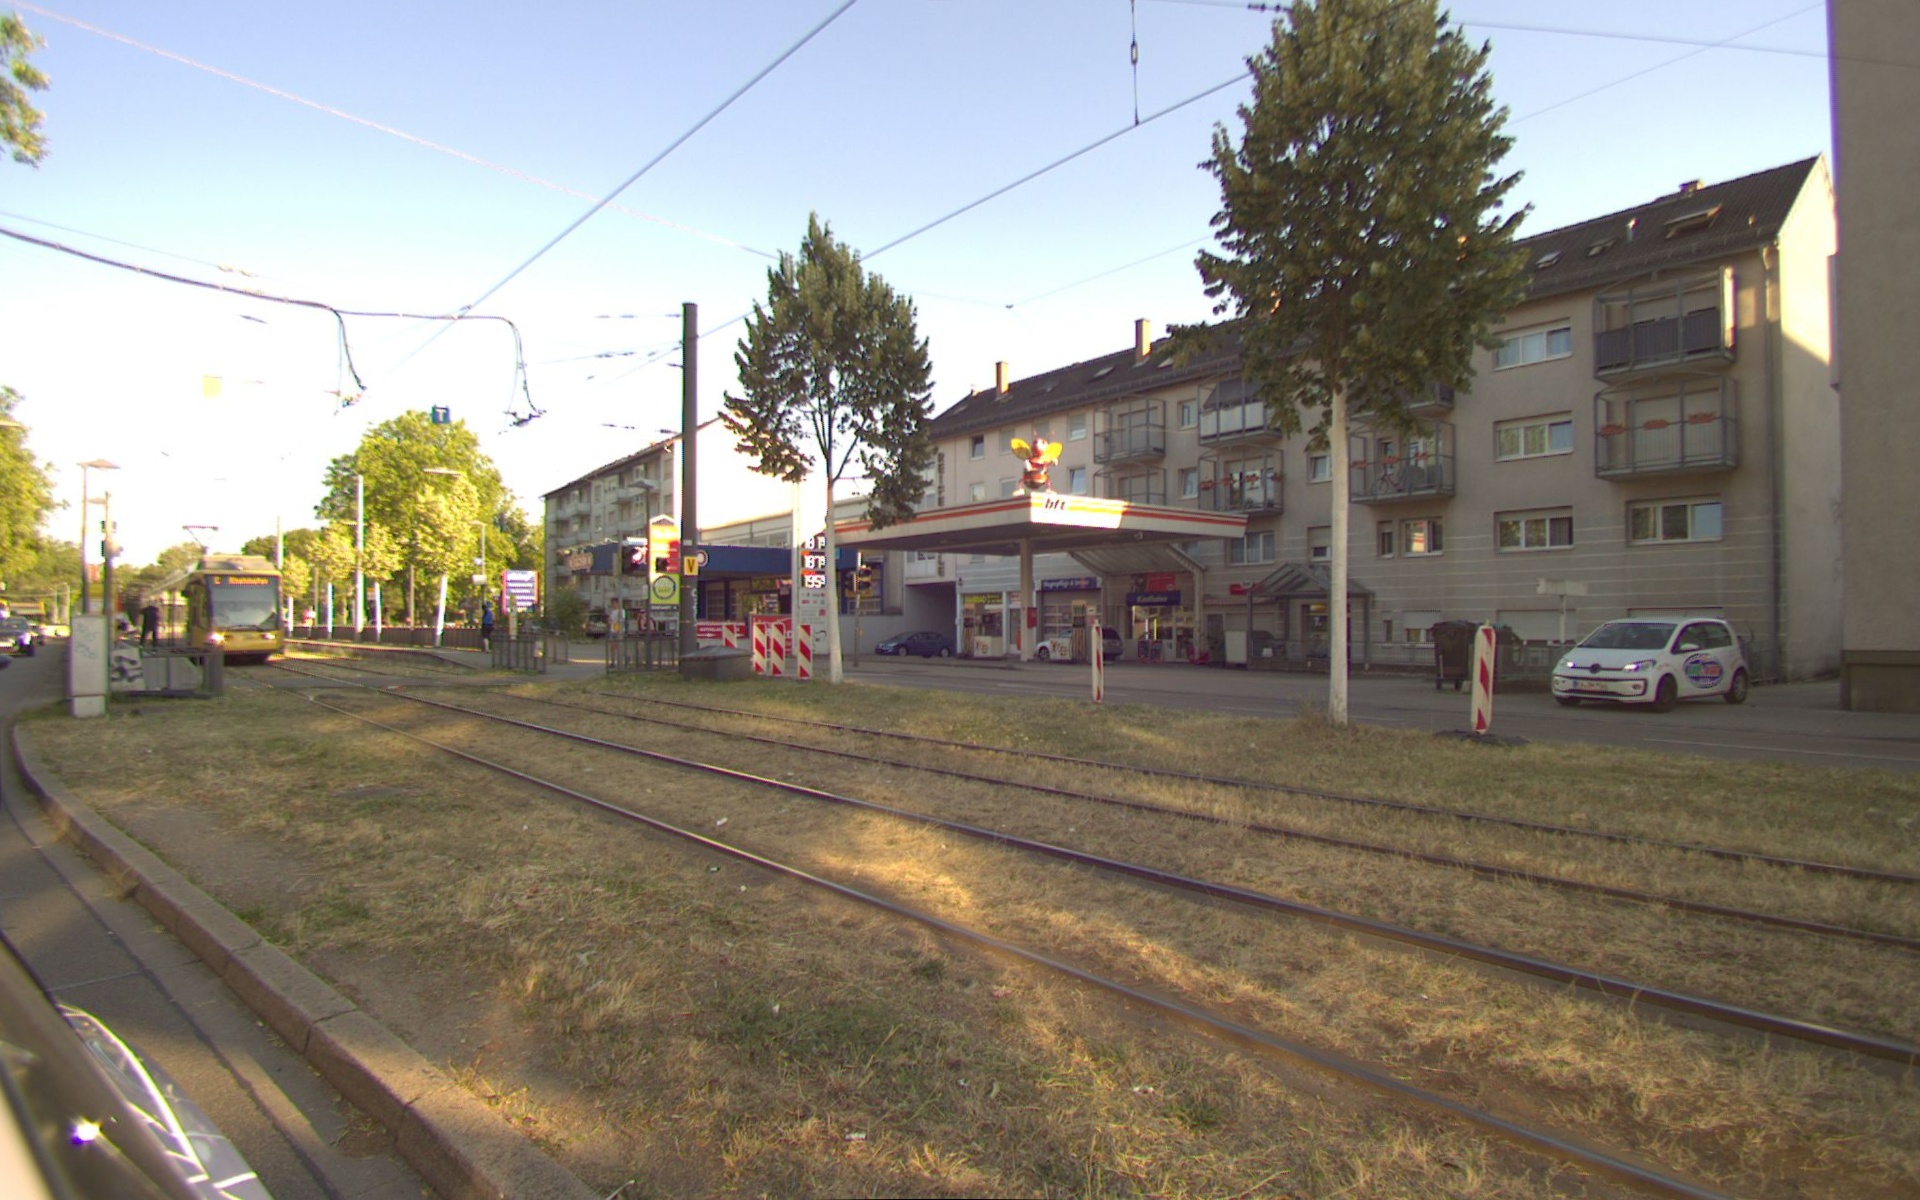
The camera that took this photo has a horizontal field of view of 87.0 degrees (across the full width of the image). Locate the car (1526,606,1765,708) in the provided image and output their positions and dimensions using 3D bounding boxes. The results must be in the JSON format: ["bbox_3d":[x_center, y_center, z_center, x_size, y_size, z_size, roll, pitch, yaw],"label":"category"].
[{"bbox_3d":[11.380,0.906,16.784,3.763,1.523,1.823,2,-2,-30],"label":"car"}]

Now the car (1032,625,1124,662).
[{"bbox_3d":[5.070,1.863,43.984,1.788,1.535,3.836,1,-2,-38],"label":"car"}]

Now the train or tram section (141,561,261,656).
[{"bbox_3d":[-32.078,0.398,42.556,2.998,3.544,10.109,3,-2,-42],"label":"train or tram section"}]

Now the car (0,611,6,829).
[{"bbox_3d":[-8.628,0.805,7.655,4.087,1.628,1.884,-2,0,45],"label":"car"}]

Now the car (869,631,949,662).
[{"bbox_3d":[-2.603,2.361,51.946,3.746,1.535,1.821,1,-2,-38],"label":"car"}]

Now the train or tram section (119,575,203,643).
[{"bbox_3d":[-45.579,0.565,57.571,2.998,3.544,10.109,3,-2,-42],"label":"train or tram section"}]

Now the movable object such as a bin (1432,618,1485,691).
[{"bbox_3d":[9.881,1.074,20.066,0.655,1.411,0.750,2,-2,-43],"label":"movable object such as a bin"}]

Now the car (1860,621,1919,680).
[{"bbox_3d":[26.866,1.376,28.345,3.877,1.428,1.821,-1,0,-38],"label":"car"}]

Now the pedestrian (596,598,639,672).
[{"bbox_3d":[-9.168,0.923,27.119,0.847,1.947,0.756,1,-2,-44],"label":"pedestrian"}]

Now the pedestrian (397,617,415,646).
[{"bbox_3d":[-36.802,2.074,67.235,0.744,1.896,1.001,-3,1,-42],"label":"pedestrian"}]

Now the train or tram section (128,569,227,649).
[{"bbox_3d":[-38.828,0.494,50.066,2.998,3.544,10.109,3,-2,-42],"label":"train or tram section"}]

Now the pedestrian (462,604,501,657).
[{"bbox_3d":[-15.917,1.006,33.674,0.923,1.666,0.927,-2,0,-41],"label":"pedestrian"}]

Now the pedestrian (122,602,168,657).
[{"bbox_3d":[-23.659,0.838,29.364,0.789,1.562,0.906,-1,-1,41],"label":"pedestrian"}]

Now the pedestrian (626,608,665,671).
[{"bbox_3d":[-8.943,1.123,28.754,0.744,1.760,0.861,1,-2,-44],"label":"pedestrian"}]

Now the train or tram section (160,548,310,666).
[{"bbox_3d":[-25.305,0.309,35.039,2.998,3.544,10.109,3,-2,-42],"label":"train or tram section"}]
